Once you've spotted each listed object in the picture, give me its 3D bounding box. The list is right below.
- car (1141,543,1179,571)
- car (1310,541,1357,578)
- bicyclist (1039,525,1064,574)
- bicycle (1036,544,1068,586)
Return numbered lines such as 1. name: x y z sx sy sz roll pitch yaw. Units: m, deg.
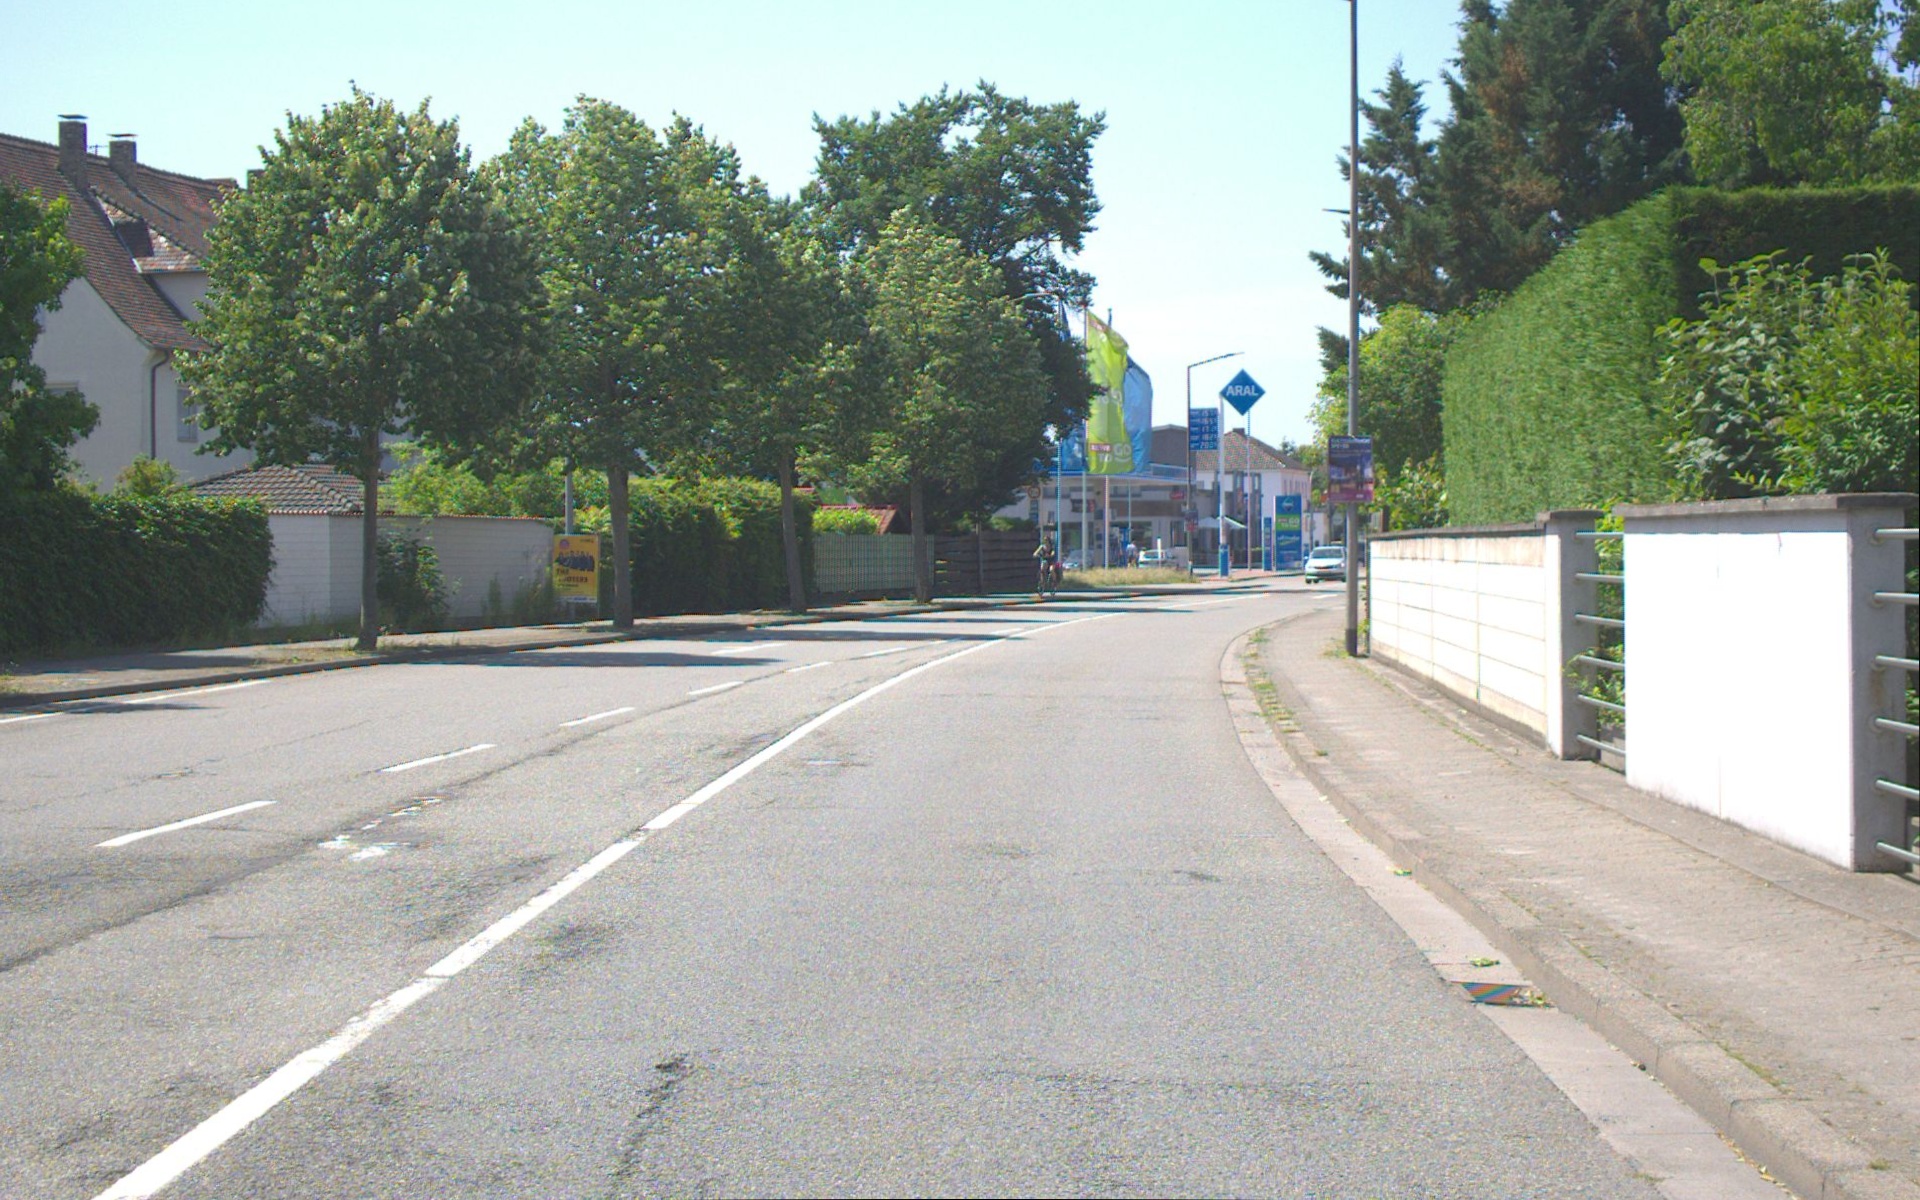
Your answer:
1. car: 10.770 -2.320 185.114 1.617 1.415 3.710 -1 1 10
2. car: 15.083 -1.649 138.591 1.613 1.477 3.706 0 1 11
3. bicyclist: 2.608 -1.443 97.847 0.628 1.404 0.676 0 1 10
4. bicycle: 2.617 -1.014 97.890 0.632 1.176 1.815 0 1 10
